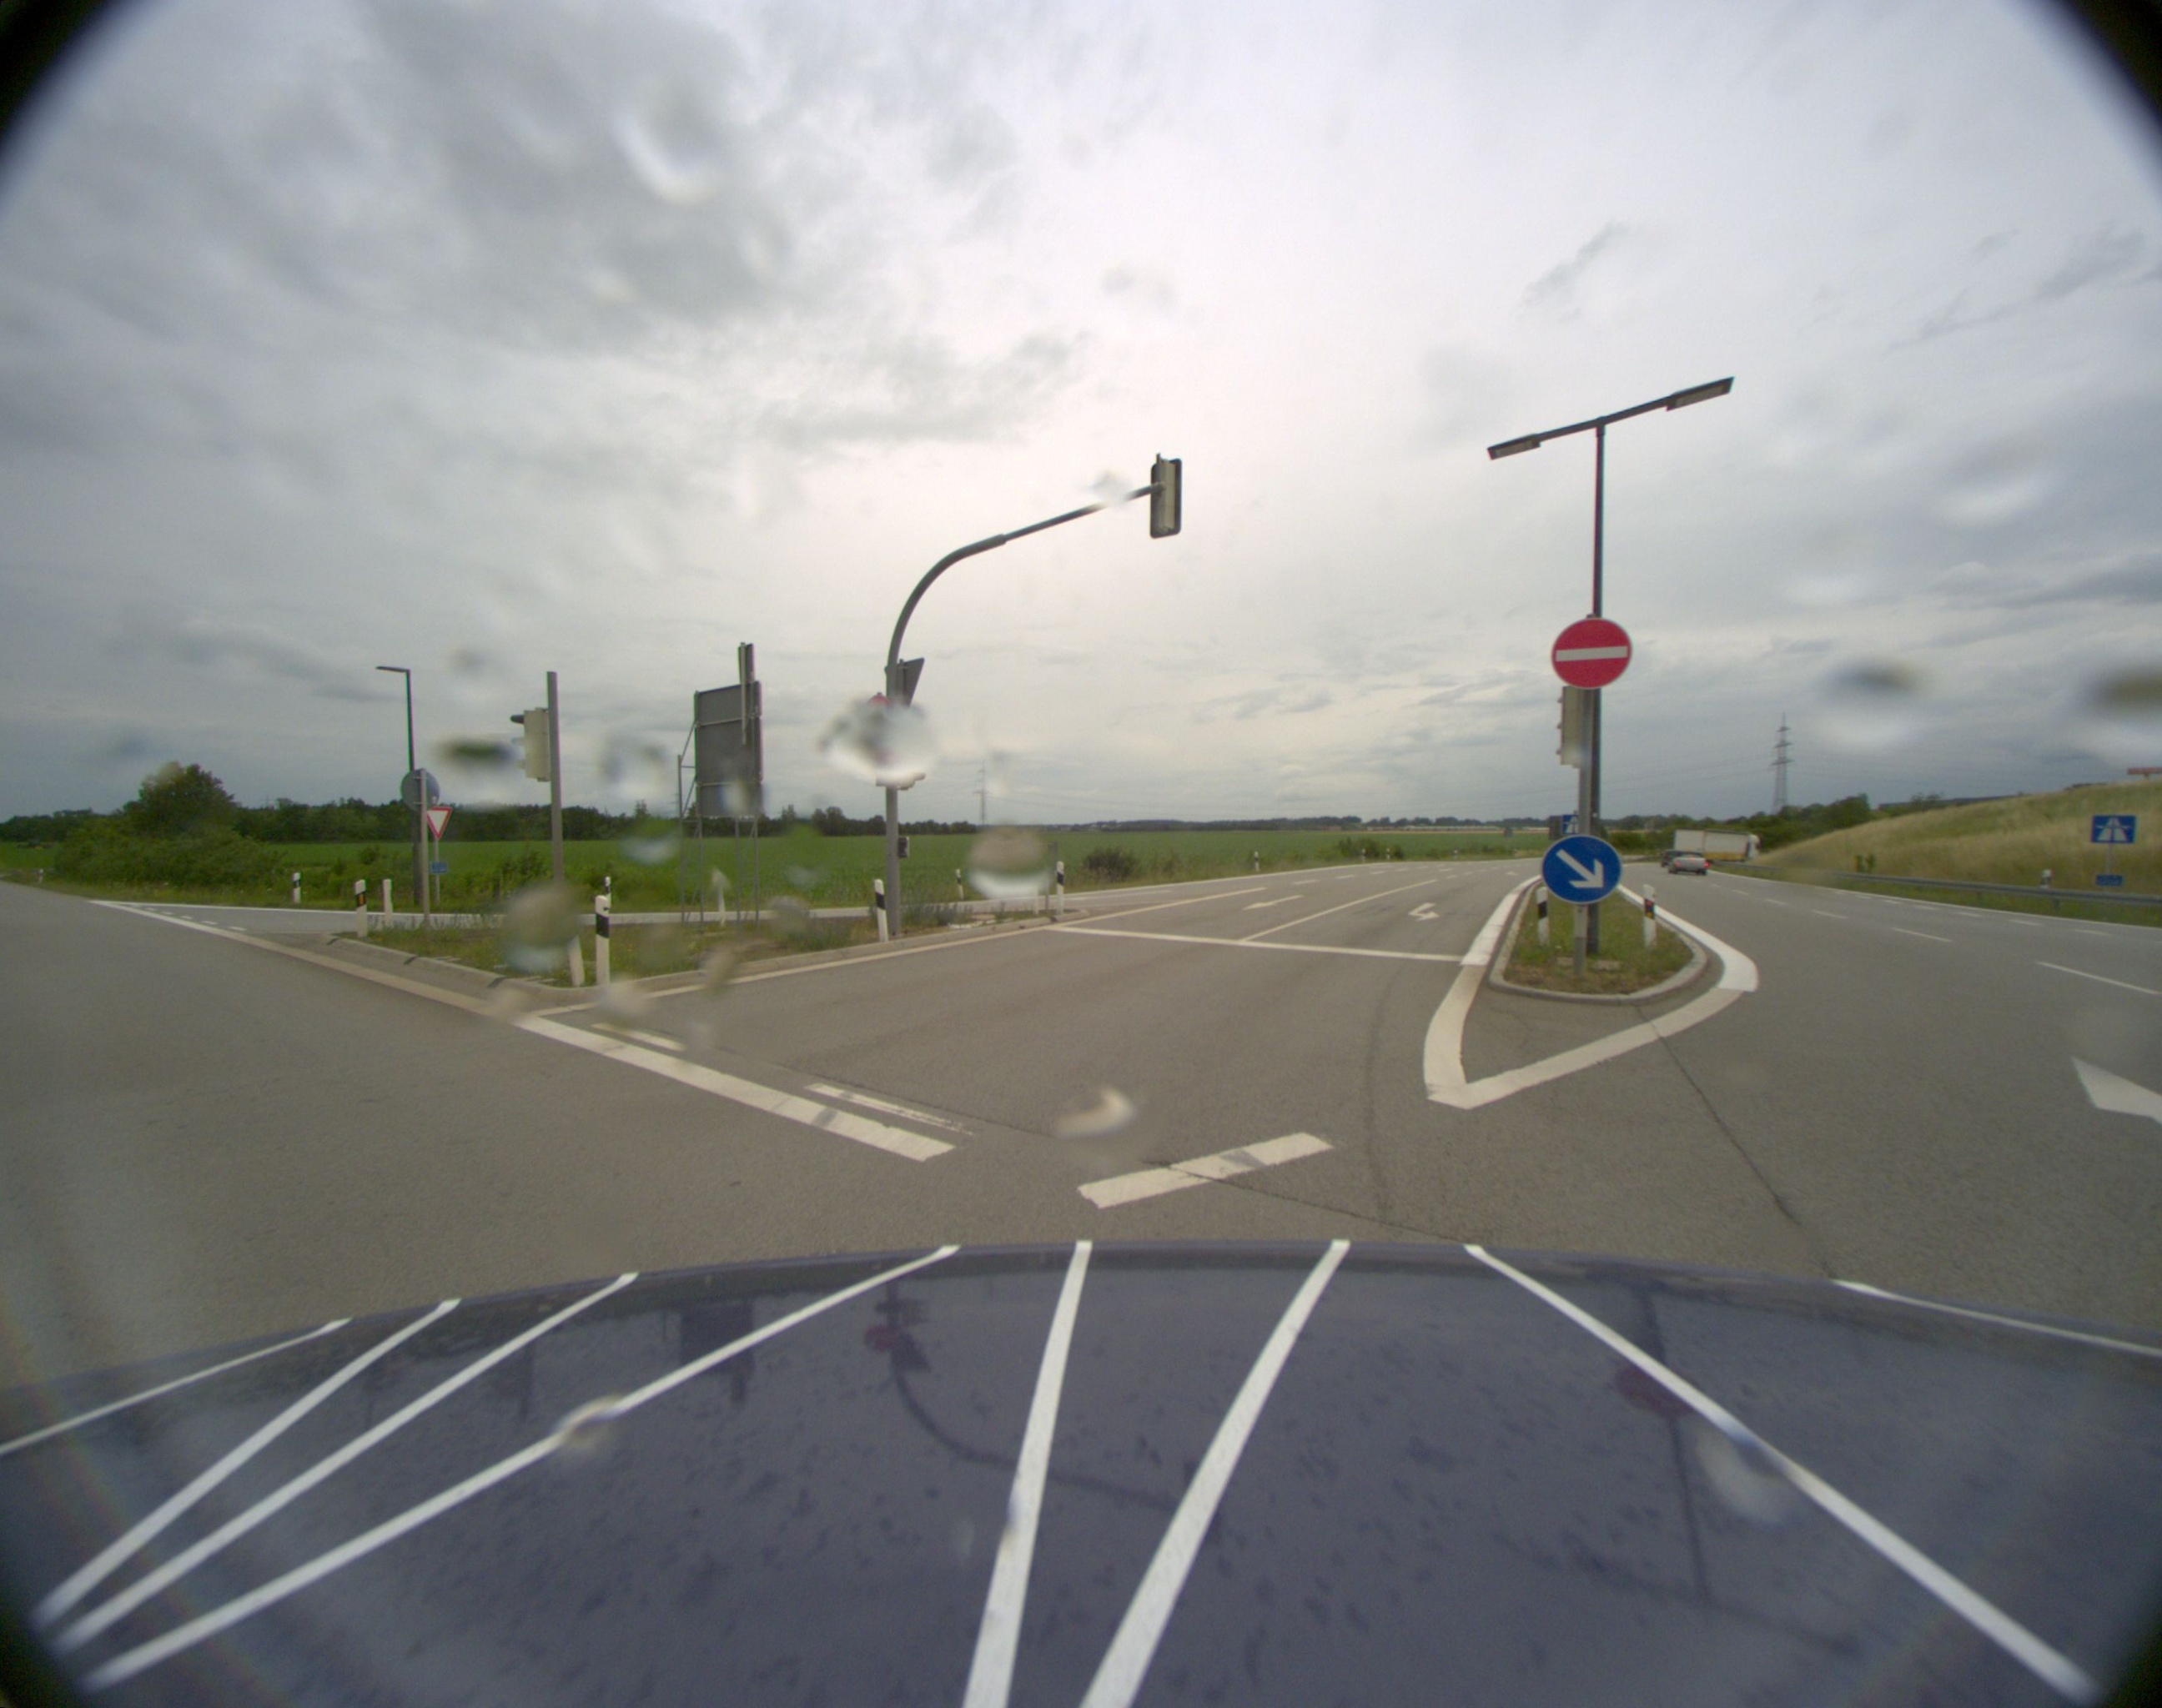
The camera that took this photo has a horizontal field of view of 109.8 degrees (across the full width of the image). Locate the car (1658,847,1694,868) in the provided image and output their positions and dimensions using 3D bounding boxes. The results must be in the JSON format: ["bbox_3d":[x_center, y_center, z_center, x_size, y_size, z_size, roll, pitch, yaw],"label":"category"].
[{"bbox_3d":[53.856,0.303,68.849,1.994,1.684,4.463,1,2,31],"label":"car"}]

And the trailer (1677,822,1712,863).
[{"bbox_3d":[67.887,-1.360,84.208,2.692,4.187,13.868,2,3,38],"label":"trailer"}]

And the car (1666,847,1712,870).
[{"bbox_3d":[40.383,0.282,50.546,1.811,1.511,4.251,1,0,31],"label":"car"}]
